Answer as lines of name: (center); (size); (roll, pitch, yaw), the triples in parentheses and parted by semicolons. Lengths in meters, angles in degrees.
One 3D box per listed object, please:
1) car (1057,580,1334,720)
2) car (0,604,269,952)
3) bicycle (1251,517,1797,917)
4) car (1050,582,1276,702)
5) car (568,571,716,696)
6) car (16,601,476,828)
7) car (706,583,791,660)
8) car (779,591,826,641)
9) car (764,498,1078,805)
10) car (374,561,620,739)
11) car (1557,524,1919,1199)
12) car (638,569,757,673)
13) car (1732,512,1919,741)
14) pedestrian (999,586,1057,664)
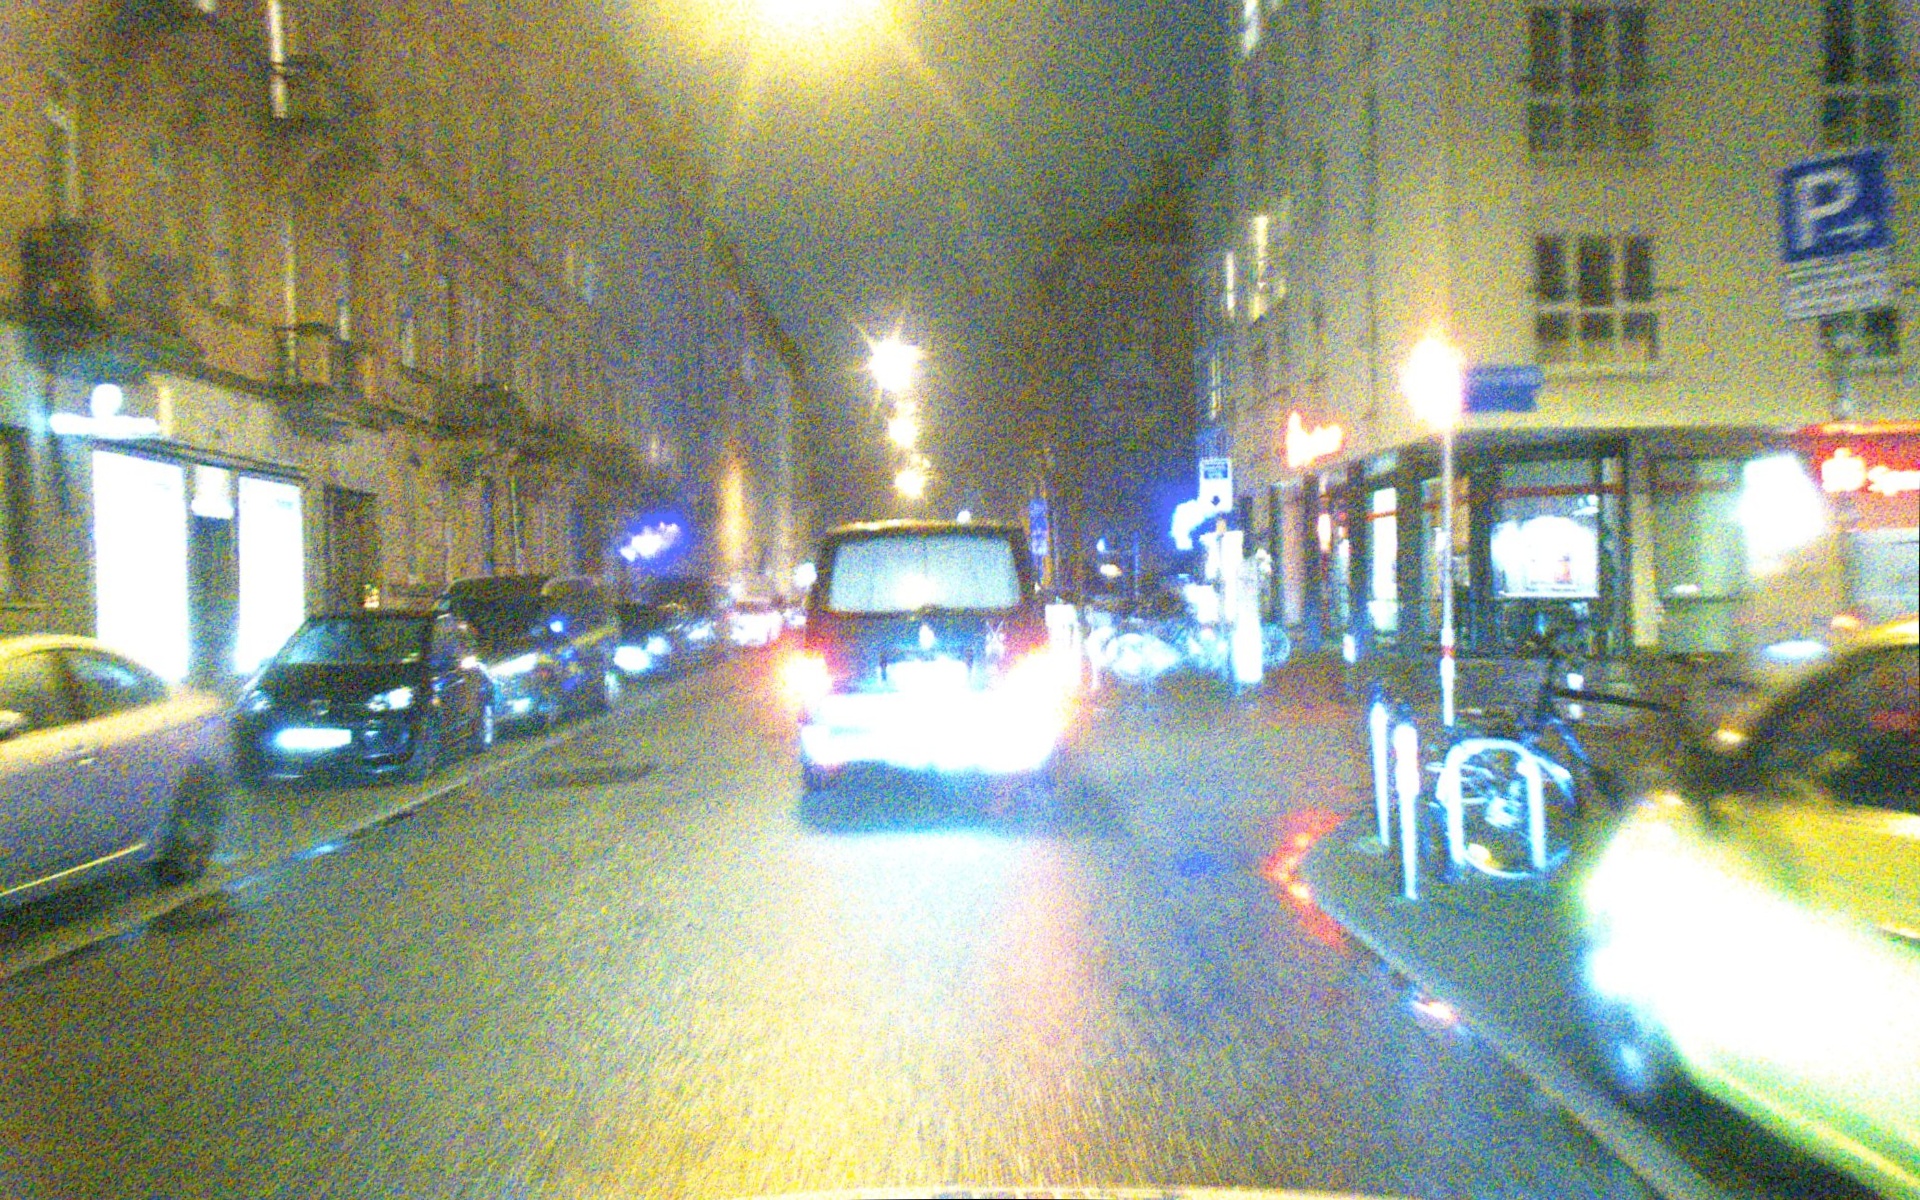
car: (3.774, 0.779, 26.712); (3.925, 2.049, 1.990); (-2, -1, -18)
car: (-5.094, 0.796, 7.819); (1.718, 1.474, 4.622); (1, 0, -1)
bicycle: (2.636, 0.556, 8.034); (2.271, 1.667, 0.889); (-5, -1, 9)
car: (3.728, 0.782, 30.960); (3.906, 2.049, 1.999); (-2, -1, -1)
car: (-5.522, 0.558, 29.193); (1.953, 2.049, 3.998); (1, 0, -2)
car: (-5.261, 0.758, 12.850); (1.953, 1.474, 3.998); (1, 0, -2)
car: (-5.867, 0.581, 46.337); (1.953, 2.049, 3.998); (1, 0, -2)
car: (-6.693, 0.667, 70.427); (1.714, 2.049, 3.998); (1, 0, -2)
car: (-0.358, 0.329, 13.365); (2.080, 2.026, 4.598); (-1, 0, -3)
car: (-5.395, 0.548, 19.824); (1.954, 1.895, 4.091); (1, 0, -3)
car: (2.705, 0.633, 3.561); (1.559, 1.570, 3.419); (0, -1, -1)
car: (-5.460, 0.416, 34.906); (1.953, 2.049, 3.999); (1, 0, -2)
car: (9.971, 0.207, 15.266); (4.713, 1.956, 2.129); (0, 0, -2)
pedestrian: (1.526, 0.573, 37.304); (1.201, 1.705, 0.696); (-2, -1, -1)
